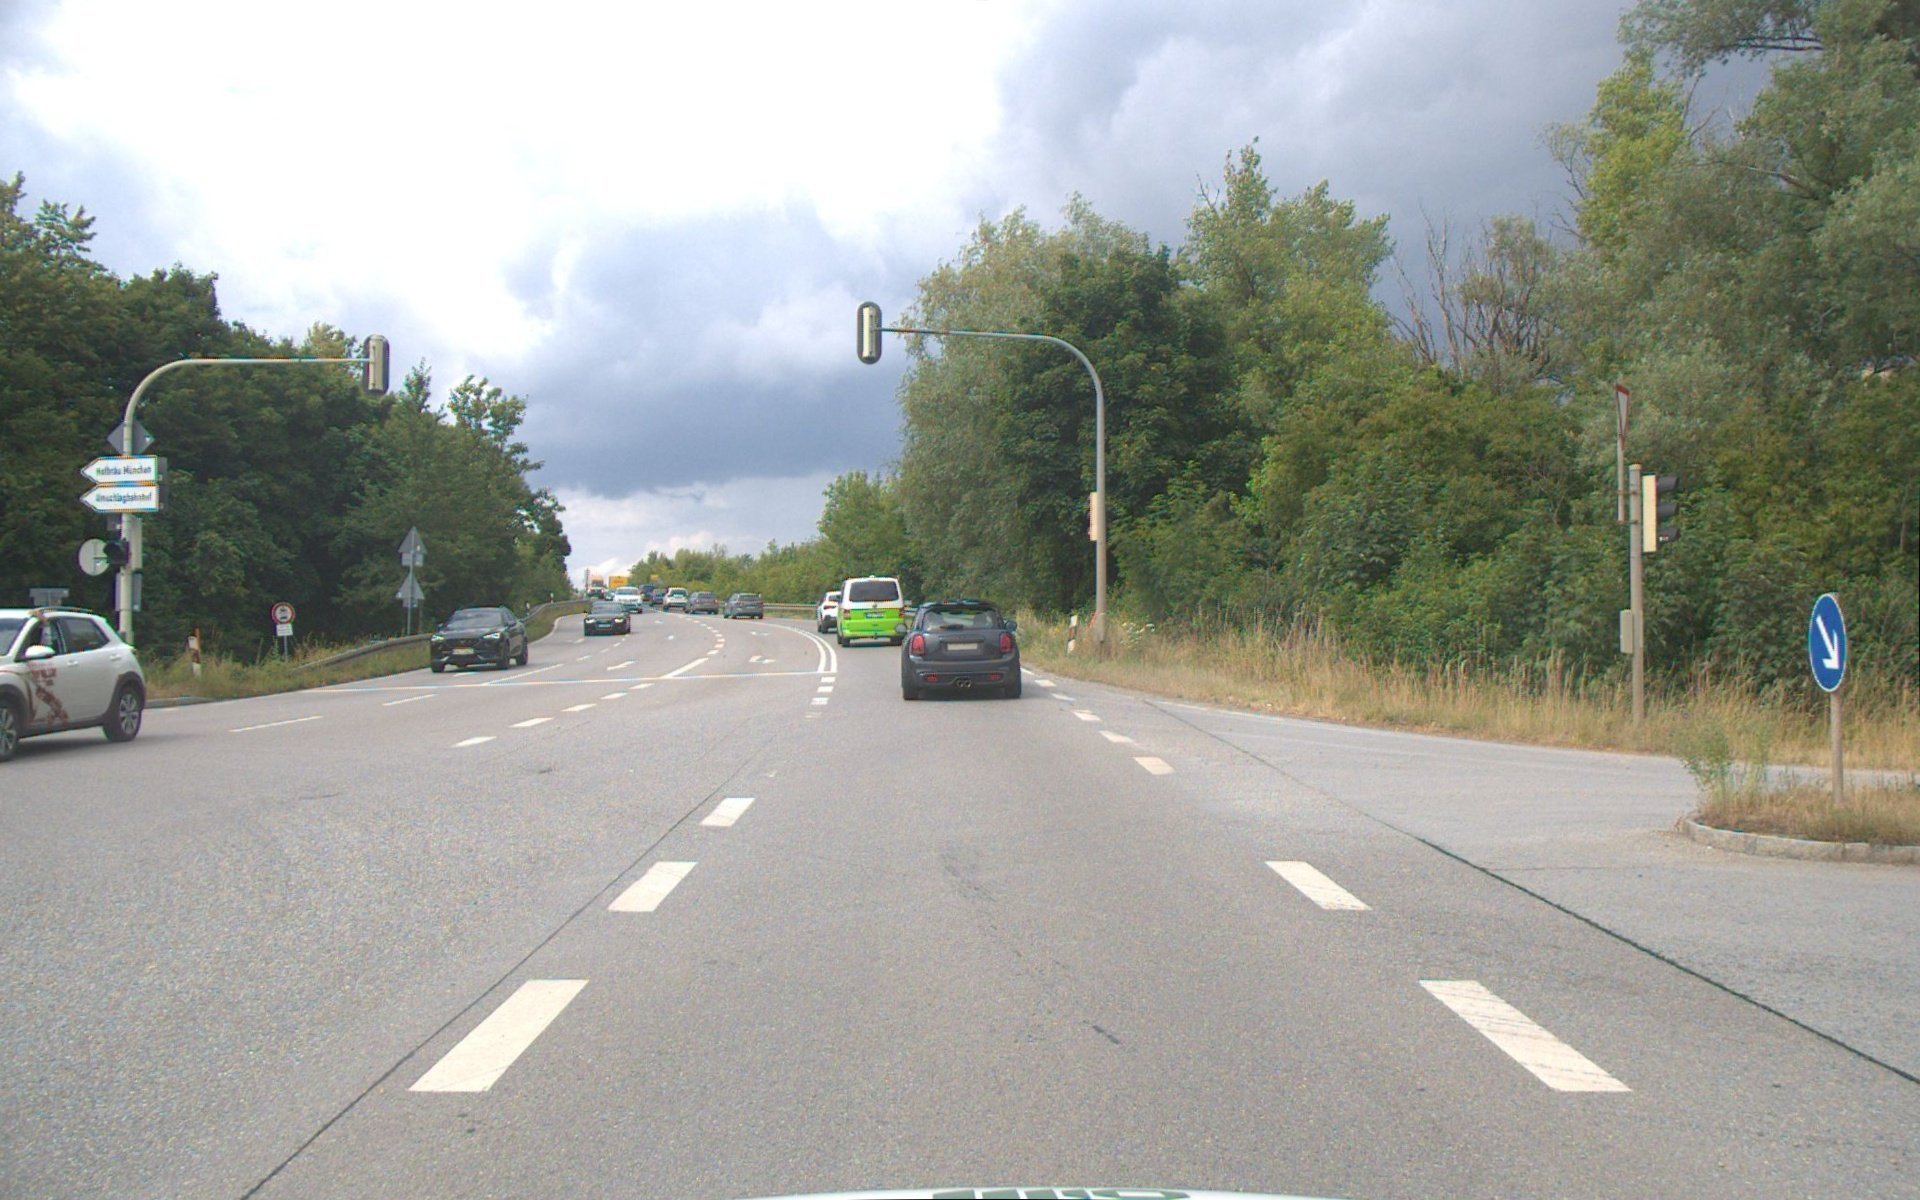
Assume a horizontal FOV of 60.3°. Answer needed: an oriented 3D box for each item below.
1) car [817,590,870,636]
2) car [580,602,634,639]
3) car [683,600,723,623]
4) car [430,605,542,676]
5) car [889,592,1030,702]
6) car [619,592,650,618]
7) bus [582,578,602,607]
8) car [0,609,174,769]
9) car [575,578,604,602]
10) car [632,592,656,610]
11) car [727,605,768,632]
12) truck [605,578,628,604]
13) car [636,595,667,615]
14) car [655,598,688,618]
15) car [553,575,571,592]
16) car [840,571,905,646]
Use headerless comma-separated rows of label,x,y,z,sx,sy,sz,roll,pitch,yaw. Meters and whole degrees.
car,-4.494,0.491,63.651,1.954,1.713,3.996,-1,0,-4
car,-15.382,0.881,72.260,1.704,1.430,4.247,-4,1,-5
car,-17.369,0.756,111.513,1.963,1.502,4.462,1,-1,-18
car,-11.788,0.976,41.412,1.727,1.610,4.200,-2,0,-3
car,-0.079,0.646,24.996,1.809,1.453,3.837,-1,1,-5
car,-21.519,0.311,109.390,1.957,1.641,3.990,0,0,-10
bus,-42.568,-0.882,191.236,1.960,3.360,7.399,0,0,-15
car,-10.093,0.868,17.343,1.694,1.531,4.345,0,0,-1
car,-26.251,-0.710,117.092,1.959,1.720,3.986,0,0,-13
car,-30.379,0.114,158.921,1.961,1.725,4.466,1,-1,-16
car,-12.330,1.066,95.728,1.959,1.502,4.470,1,-1,-13
truck,-44.284,-1.149,213.242,2.668,2.949,8.745,1,-3,-11
car,-26.619,0.462,142.731,1.963,1.725,4.461,1,-1,-19
car,-21.927,0.620,125.622,1.961,1.502,4.465,1,-1,-16
car,-47.556,-1.976,197.537,1.959,2.049,3.988,0,0,-12
car,-2.603,0.210,48.573,1.808,2.021,3.839,0,2,-4
